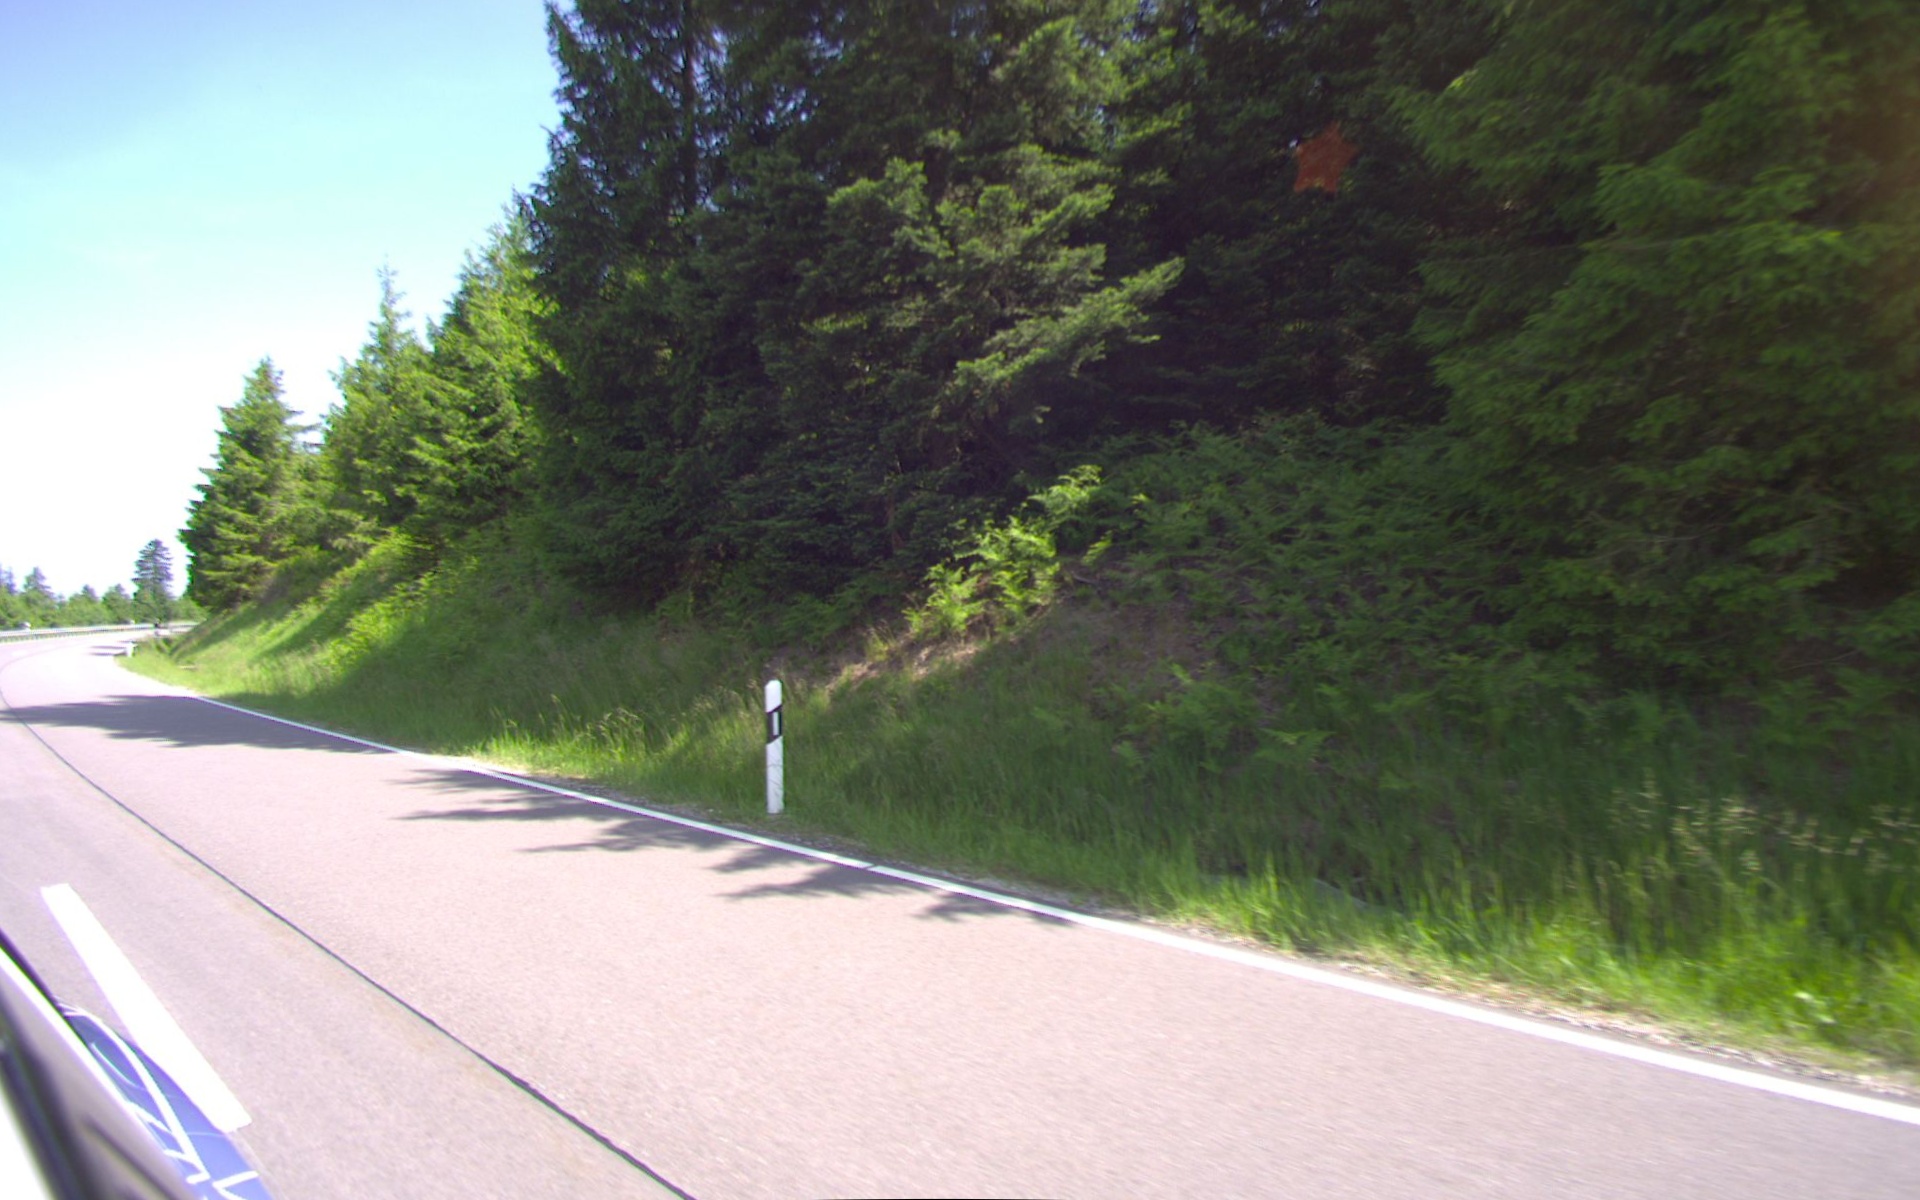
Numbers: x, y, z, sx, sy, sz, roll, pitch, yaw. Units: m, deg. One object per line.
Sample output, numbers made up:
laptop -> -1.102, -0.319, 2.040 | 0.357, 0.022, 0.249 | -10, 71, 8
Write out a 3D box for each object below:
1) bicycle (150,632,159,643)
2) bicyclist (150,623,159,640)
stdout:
bicycle -> -68.161, 3.162, 85.640 | 0.545, 0.893, 2.067 | 2, -2, -37
bicyclist -> -68.206, 2.655, 85.736 | 0.534, 1.462, 0.986 | 2, -2, -37
